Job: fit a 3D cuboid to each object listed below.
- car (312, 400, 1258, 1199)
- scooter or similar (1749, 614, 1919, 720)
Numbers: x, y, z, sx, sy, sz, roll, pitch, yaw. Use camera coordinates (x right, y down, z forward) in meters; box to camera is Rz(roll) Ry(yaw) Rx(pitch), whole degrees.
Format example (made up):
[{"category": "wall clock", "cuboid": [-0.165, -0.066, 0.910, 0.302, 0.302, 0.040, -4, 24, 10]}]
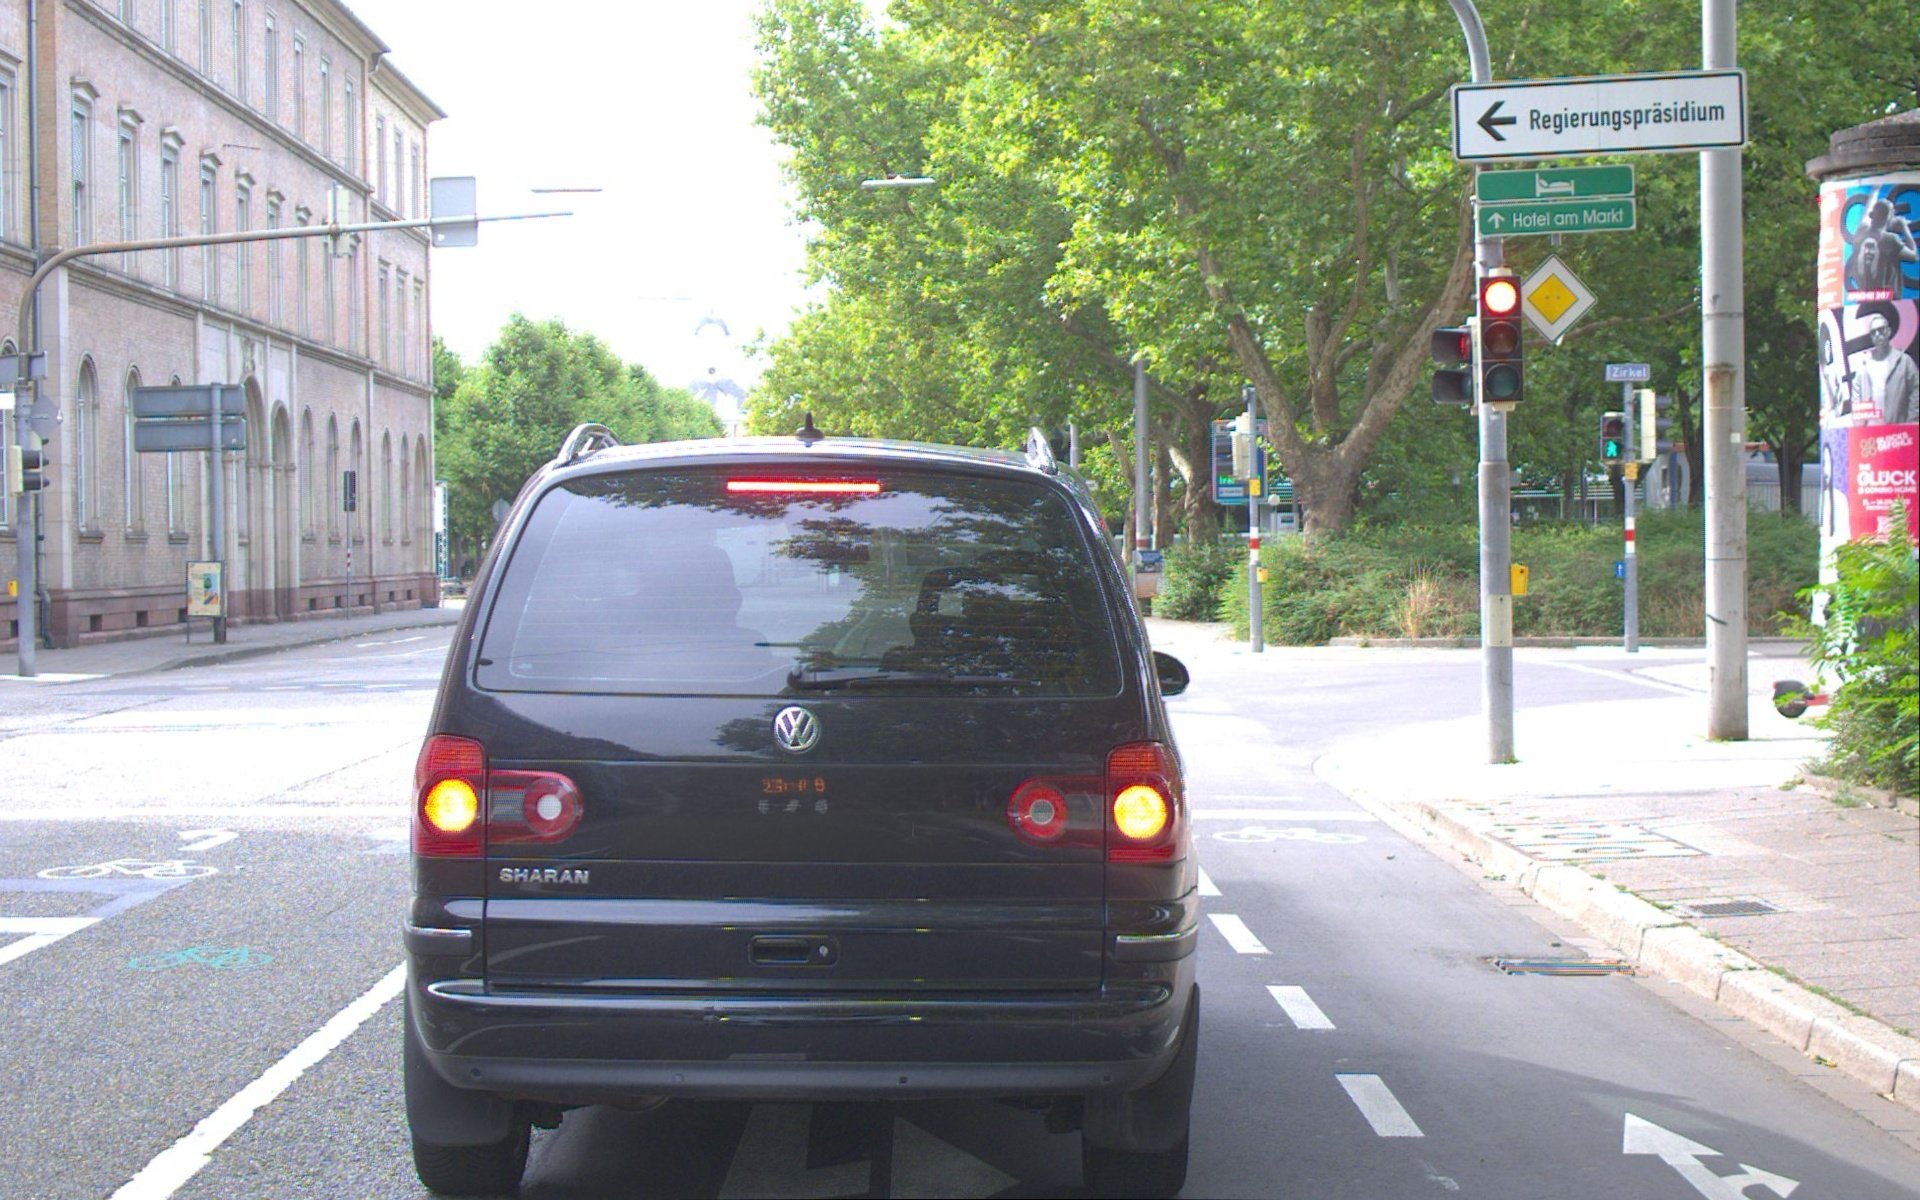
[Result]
[{"category": "car", "cuboid": [-0.286, 0.430, 9.132, 1.874, 1.739, 4.573, 0, 1, 2]}, {"category": "scooter or similar", "cuboid": [6.387, 0.484, 24.969, 1.219, 0.734, 0.369, -1, 1, -1]}]
